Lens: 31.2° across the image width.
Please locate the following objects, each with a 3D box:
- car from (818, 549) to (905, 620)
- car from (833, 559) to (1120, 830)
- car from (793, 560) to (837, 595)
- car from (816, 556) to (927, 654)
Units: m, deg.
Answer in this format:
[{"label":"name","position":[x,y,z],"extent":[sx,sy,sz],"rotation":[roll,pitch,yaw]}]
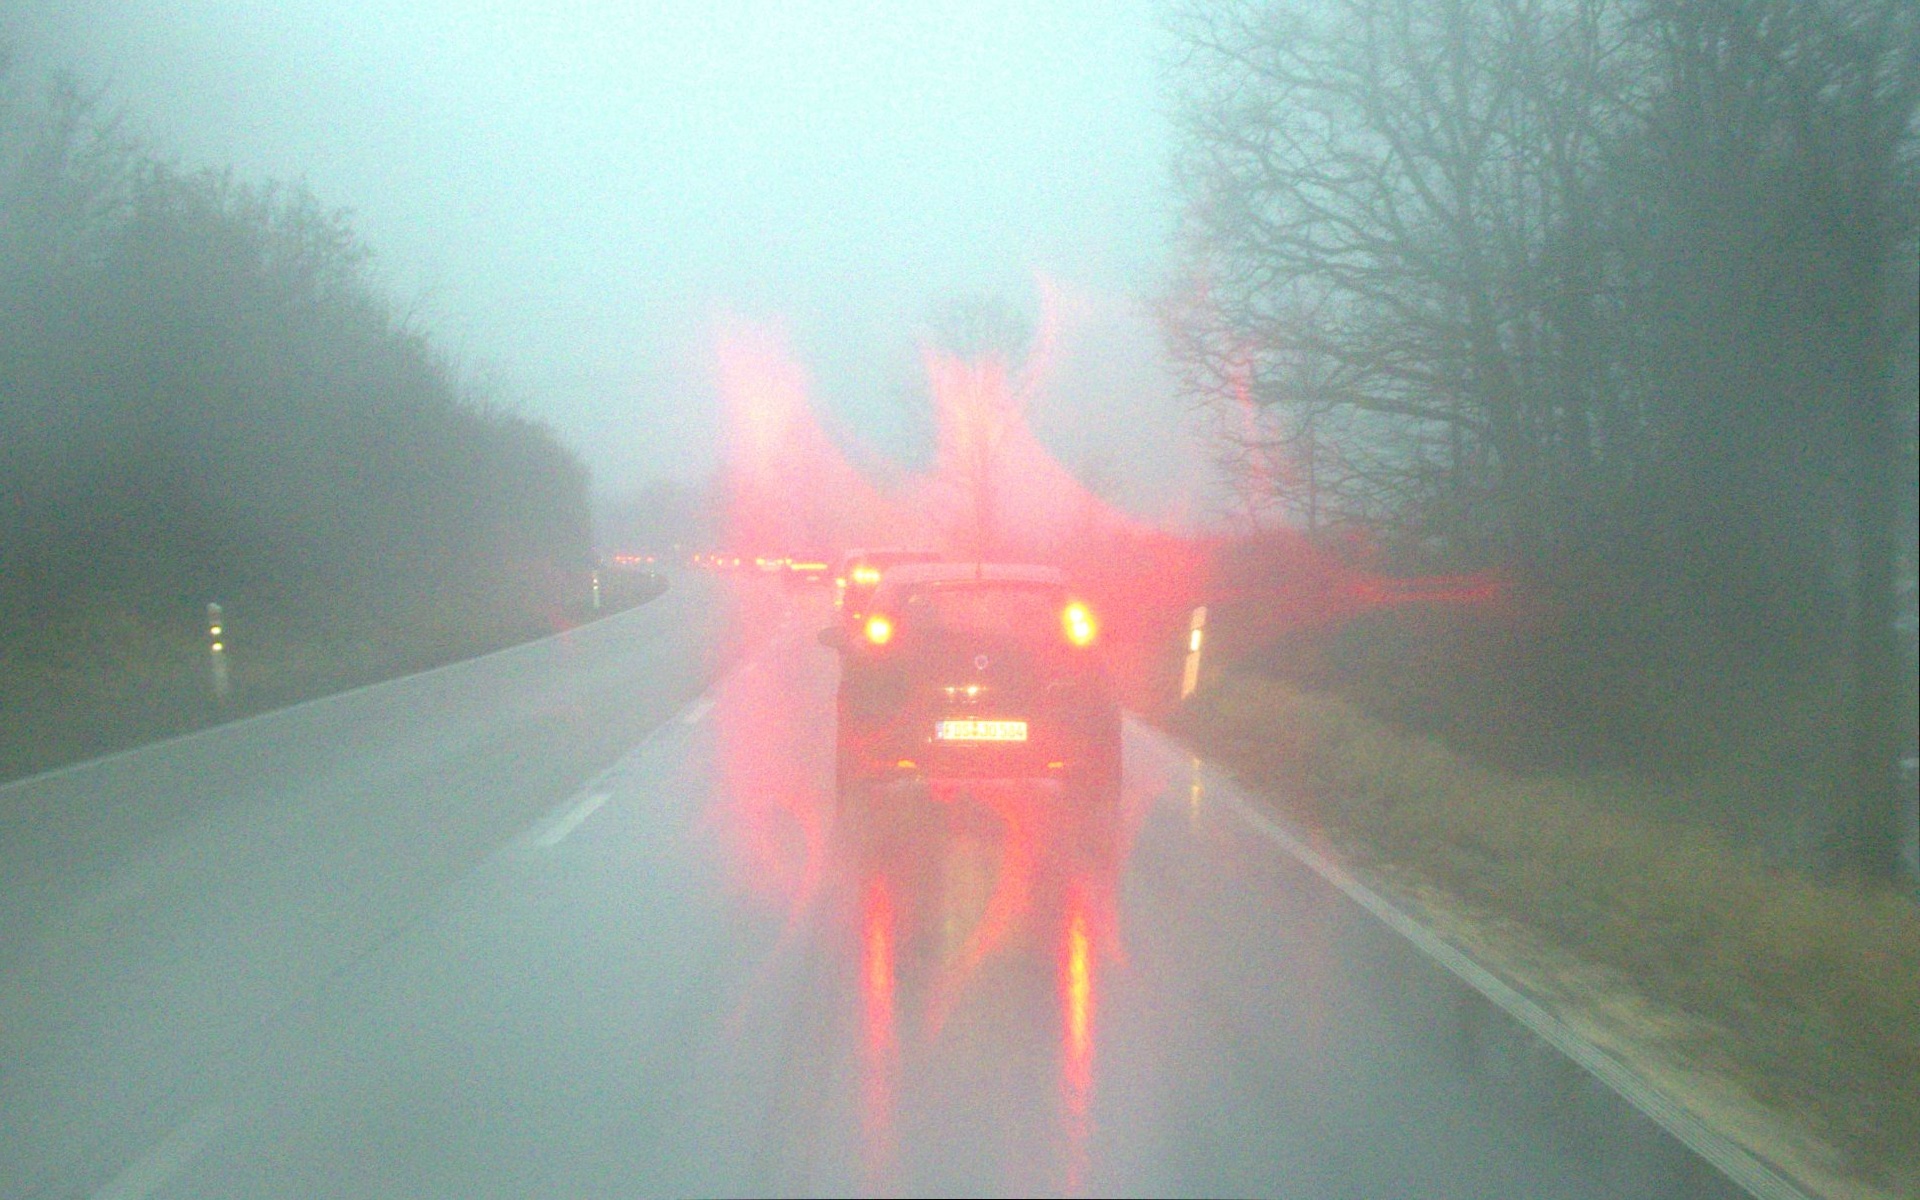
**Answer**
[{"label":"car","position":[-2.015,-0.338,70.908],"extent":[1.547,1.392,3.869],"rotation":[1,1,2]},{"label":"car","position":[0.181,0.511,21.413],"extent":[1.602,1.517,3.869],"rotation":[1,1,3]},{"label":"car","position":[-5.856,-0.915,139.430],"extent":[1.547,1.392,3.869],"rotation":[1,1,1]},{"label":"car","position":[-1.294,0.047,51.542],"extent":[1.547,1.392,3.869],"rotation":[1,1,0]}]
